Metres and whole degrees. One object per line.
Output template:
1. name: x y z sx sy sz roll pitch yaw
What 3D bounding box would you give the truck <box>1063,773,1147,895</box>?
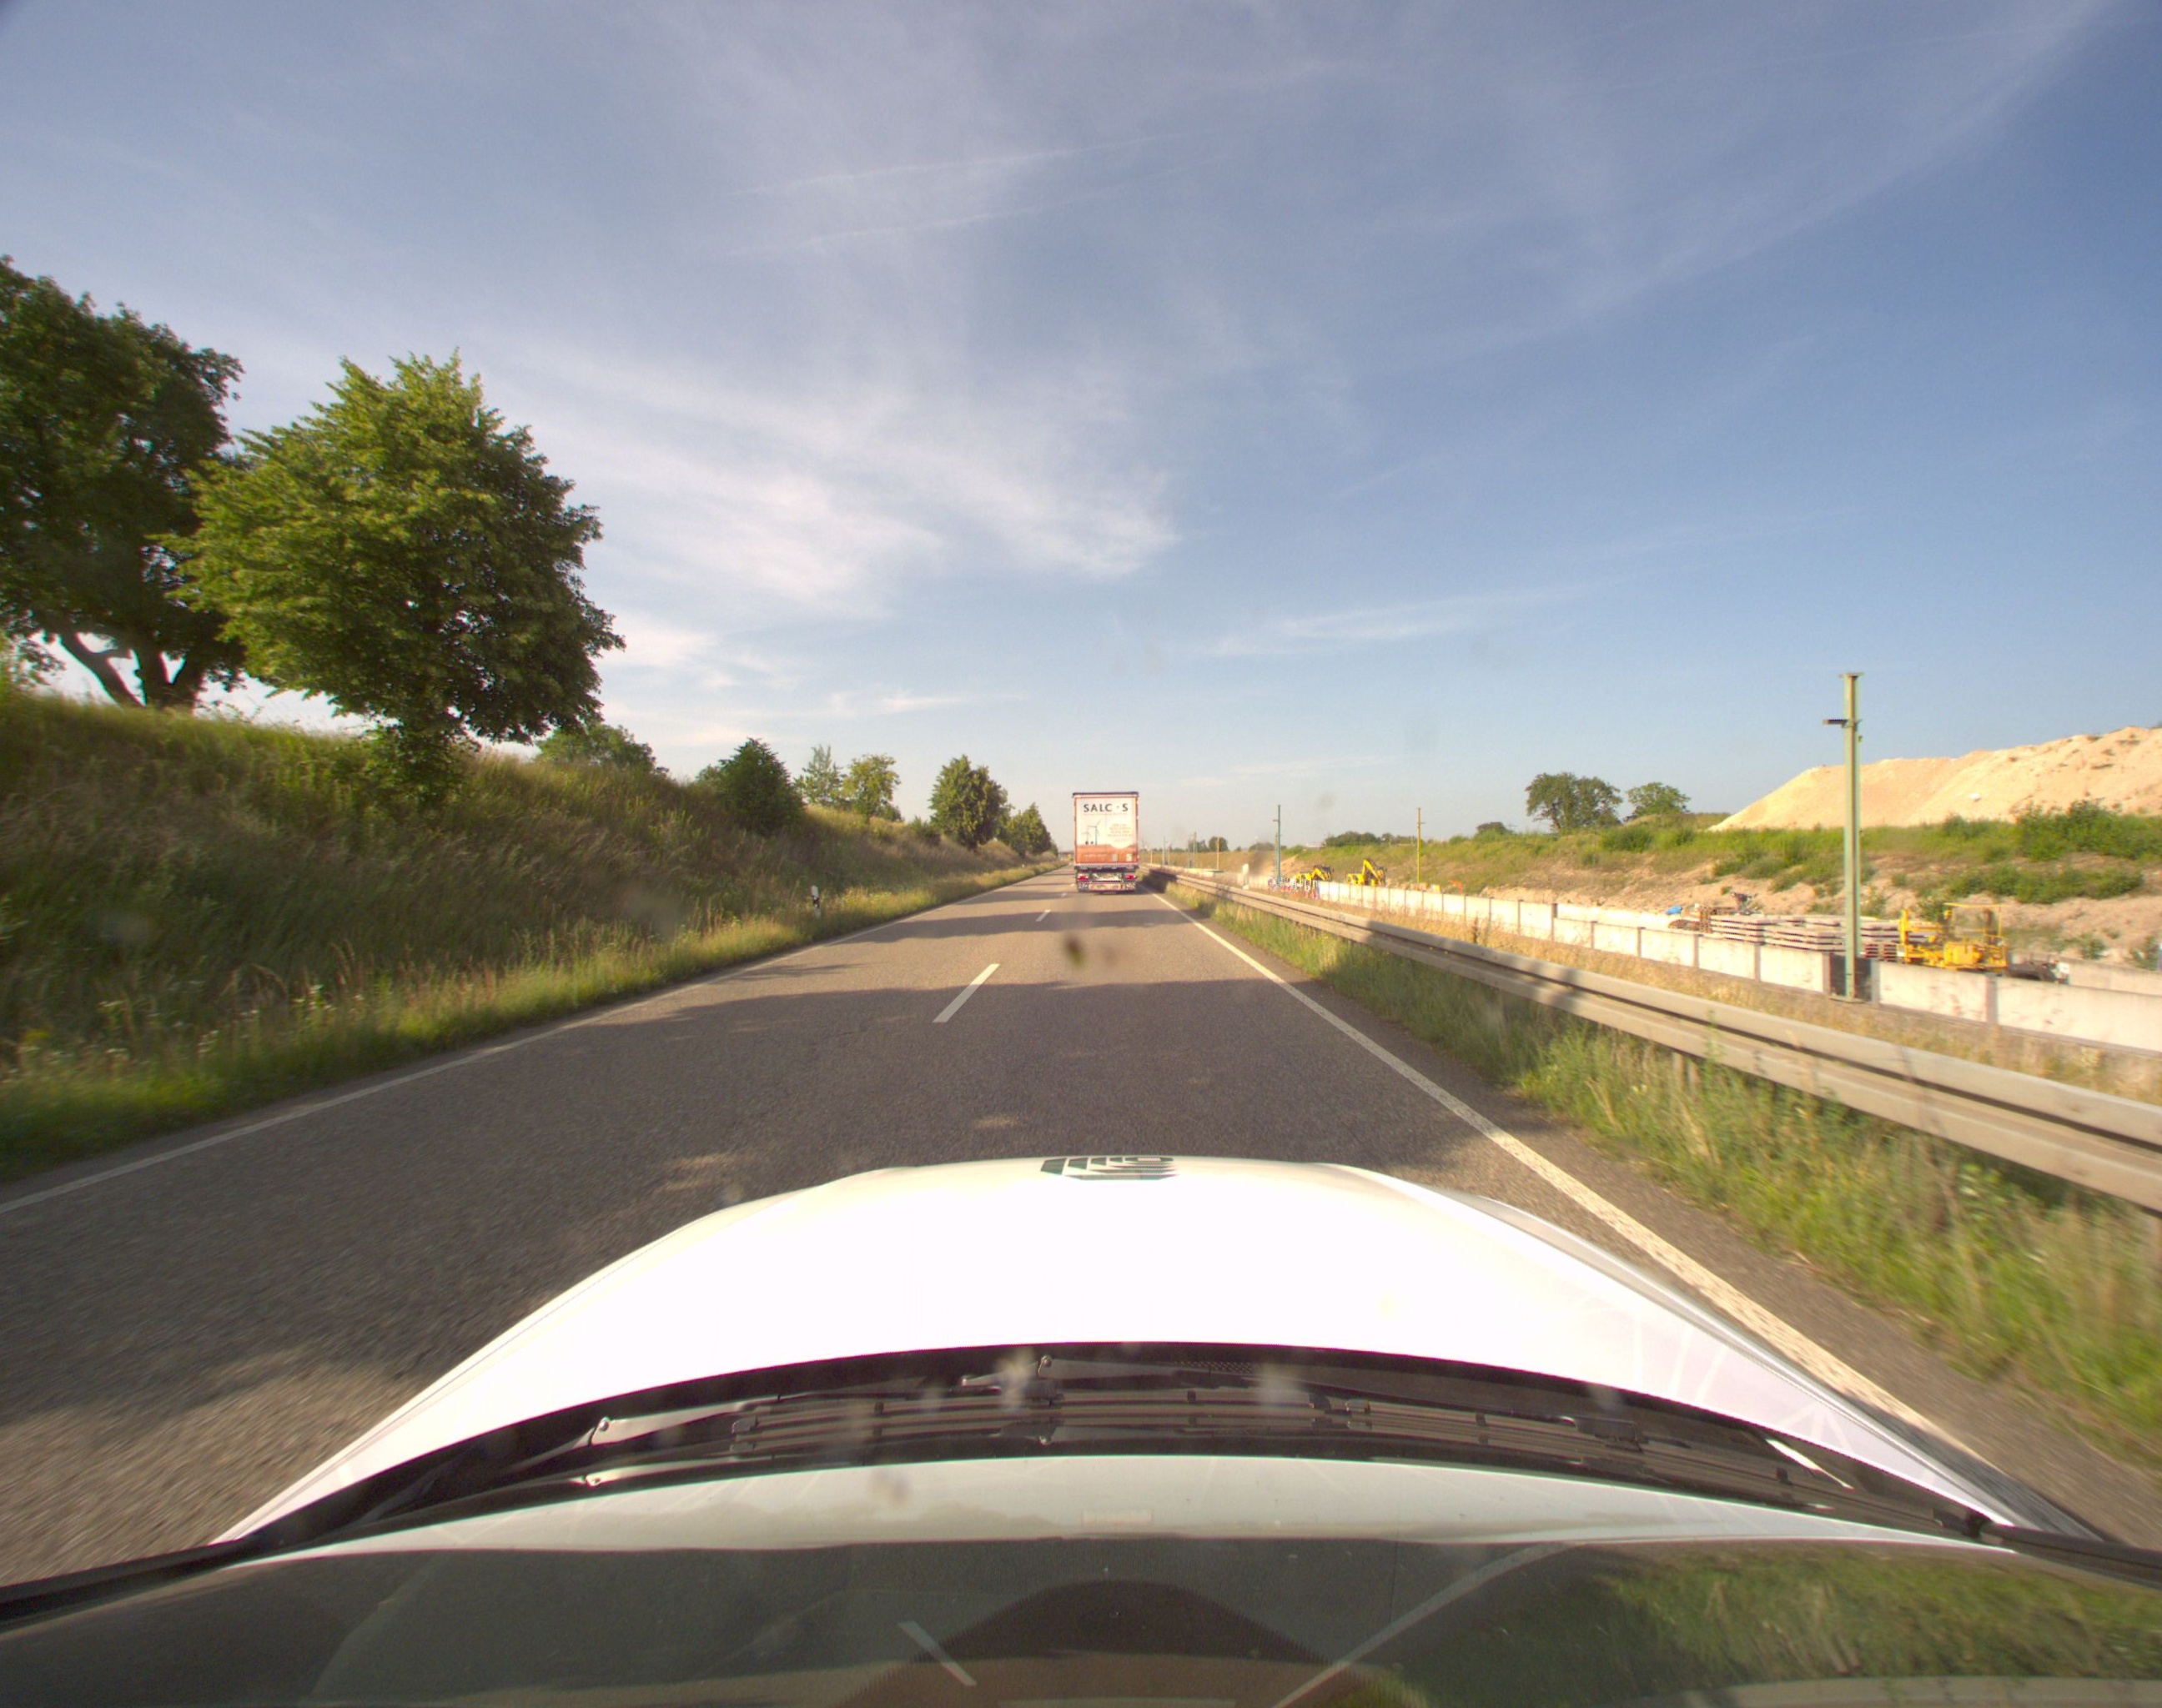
1. truck: 1.078 -0.763 35.868 3.141 4.688 8.445 -1 0 2

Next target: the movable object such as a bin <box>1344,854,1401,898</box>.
1. movable object such as a bin: 27.481 1.991 77.223 2.787 3.886 7.538 -1 0 1

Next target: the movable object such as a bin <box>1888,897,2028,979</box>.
1. movable object such as a bin: 31.494 2.949 29.358 2.877 2.661 2.031 -1 0 26

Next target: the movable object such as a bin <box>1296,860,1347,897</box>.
1. movable object such as a bin: 23.042 2.277 78.472 2.612 3.239 8.074 -1 0 1
